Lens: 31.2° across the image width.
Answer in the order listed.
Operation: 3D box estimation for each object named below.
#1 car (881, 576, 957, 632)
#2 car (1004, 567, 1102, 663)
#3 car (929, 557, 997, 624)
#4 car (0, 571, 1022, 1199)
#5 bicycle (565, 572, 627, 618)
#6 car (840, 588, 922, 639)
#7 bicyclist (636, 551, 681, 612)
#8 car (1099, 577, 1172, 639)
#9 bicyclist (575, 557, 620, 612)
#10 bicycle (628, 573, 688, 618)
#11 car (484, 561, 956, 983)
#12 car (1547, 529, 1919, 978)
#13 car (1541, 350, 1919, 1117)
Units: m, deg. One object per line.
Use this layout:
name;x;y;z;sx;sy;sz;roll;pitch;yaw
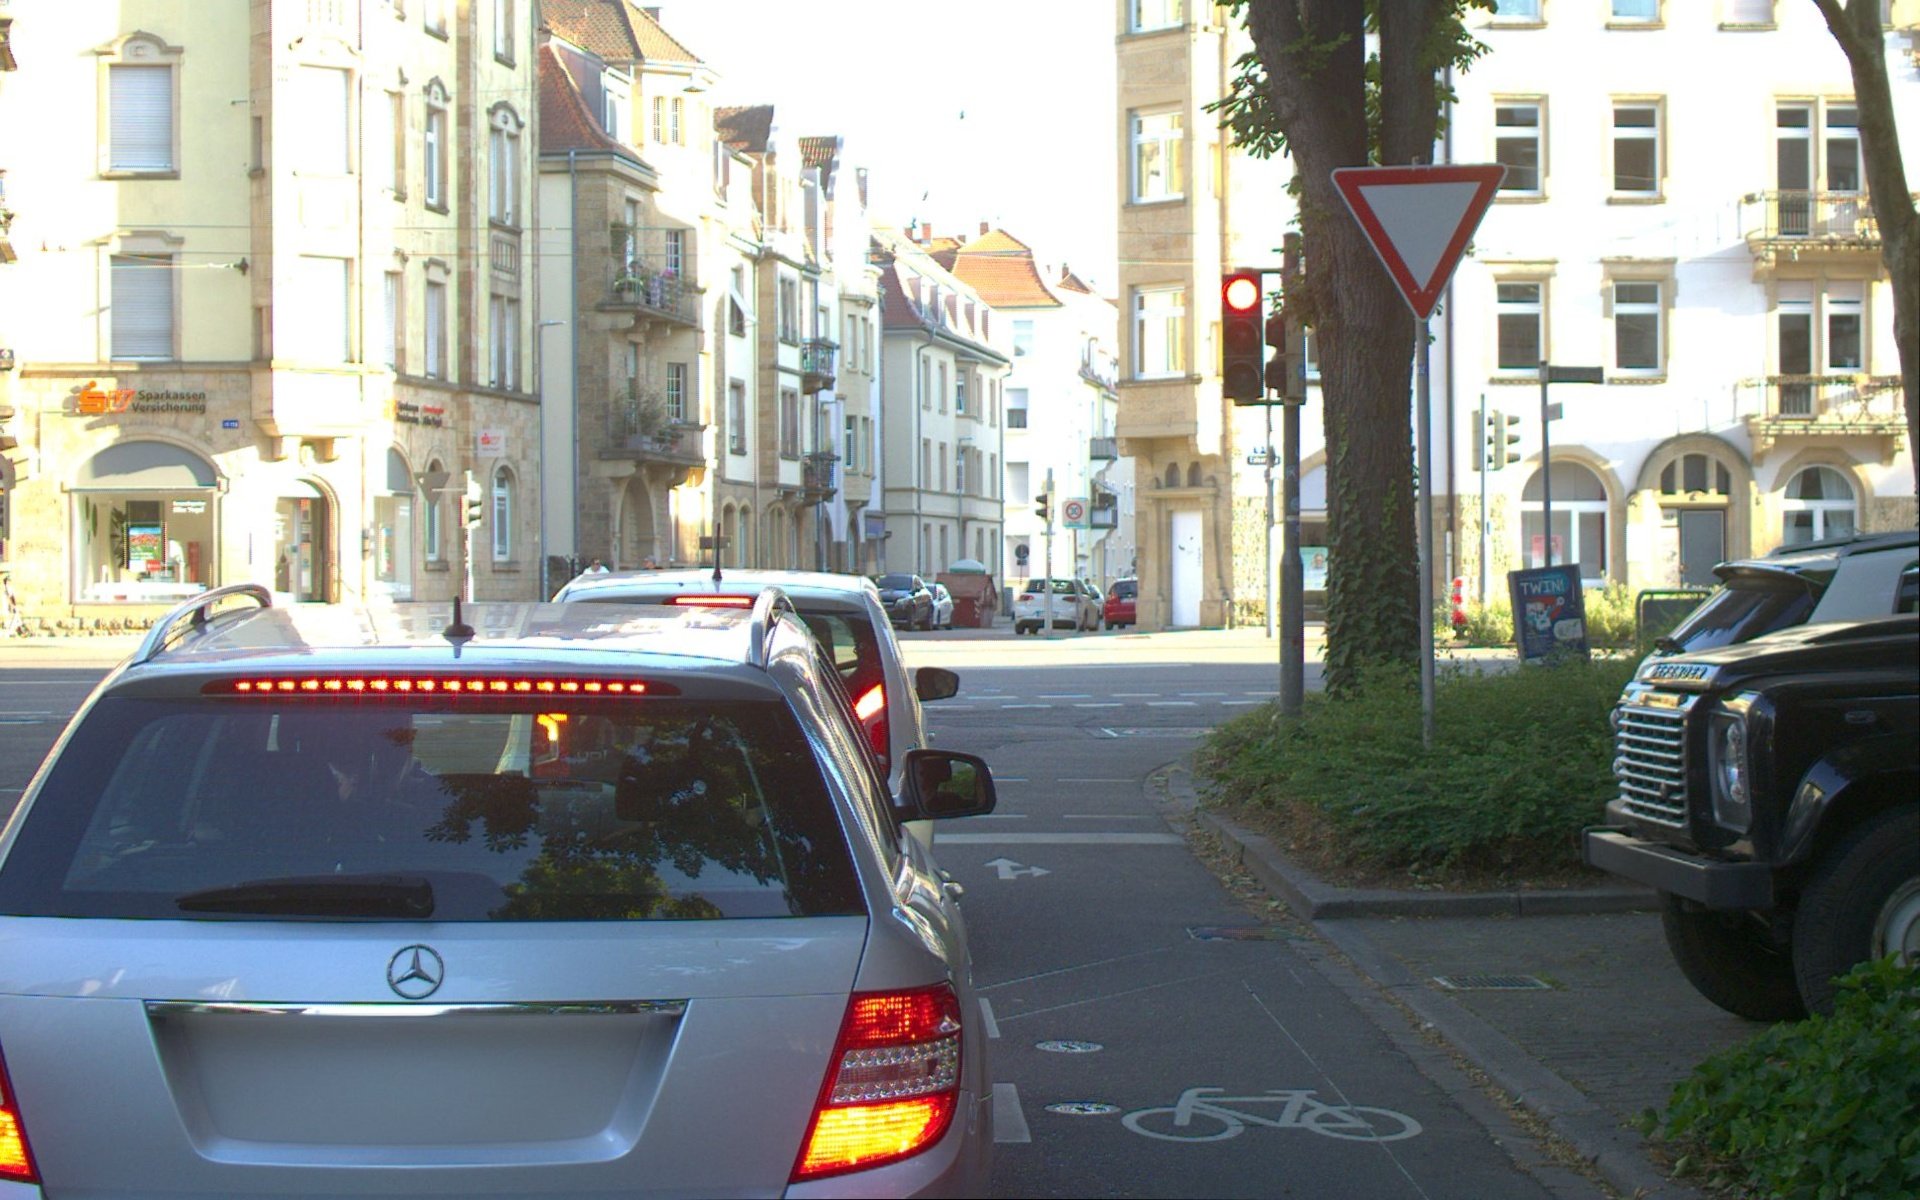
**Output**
car;-1.275;0.117;108.763;1.835;1.657;3.999;0;1;8
car;2.344;0.350;85.901;2.031;2.272;3.999;0;1;8
car;0.134;-0.355;117.351;1.787;2.196;3.999;0;1;8
car;-0.897;0.682;6.963;1.777;1.447;4.548;0;1;-2
bicycle;-7.766;-0.110;73.387;0.771;0.936;1.939;1;1;11
car;-2.321;0.394;102.533;1.835;1.397;3.999;0;1;8
bicyclist;-6.442;-0.394;73.472;0.771;1.285;0.752;1;1;11
car;5.221;0.214;101.933;1.835;1.738;3.999;0;1;8
bicyclist;-7.748;-0.332;73.462;0.771;1.152;0.752;1;1;11
bicycle;-6.443;-0.101;73.475;0.771;0.931;1.939;1;1;11
car;-0.913;0.571;14.052;1.619;1.442;4.345;0;1;-2
car;4.291;0.500;13.092;3.723;1.564;1.709;-1;0;-4
car;4.136;0.300;10.123;4.465;2.029;1.701;-1;0;-3
